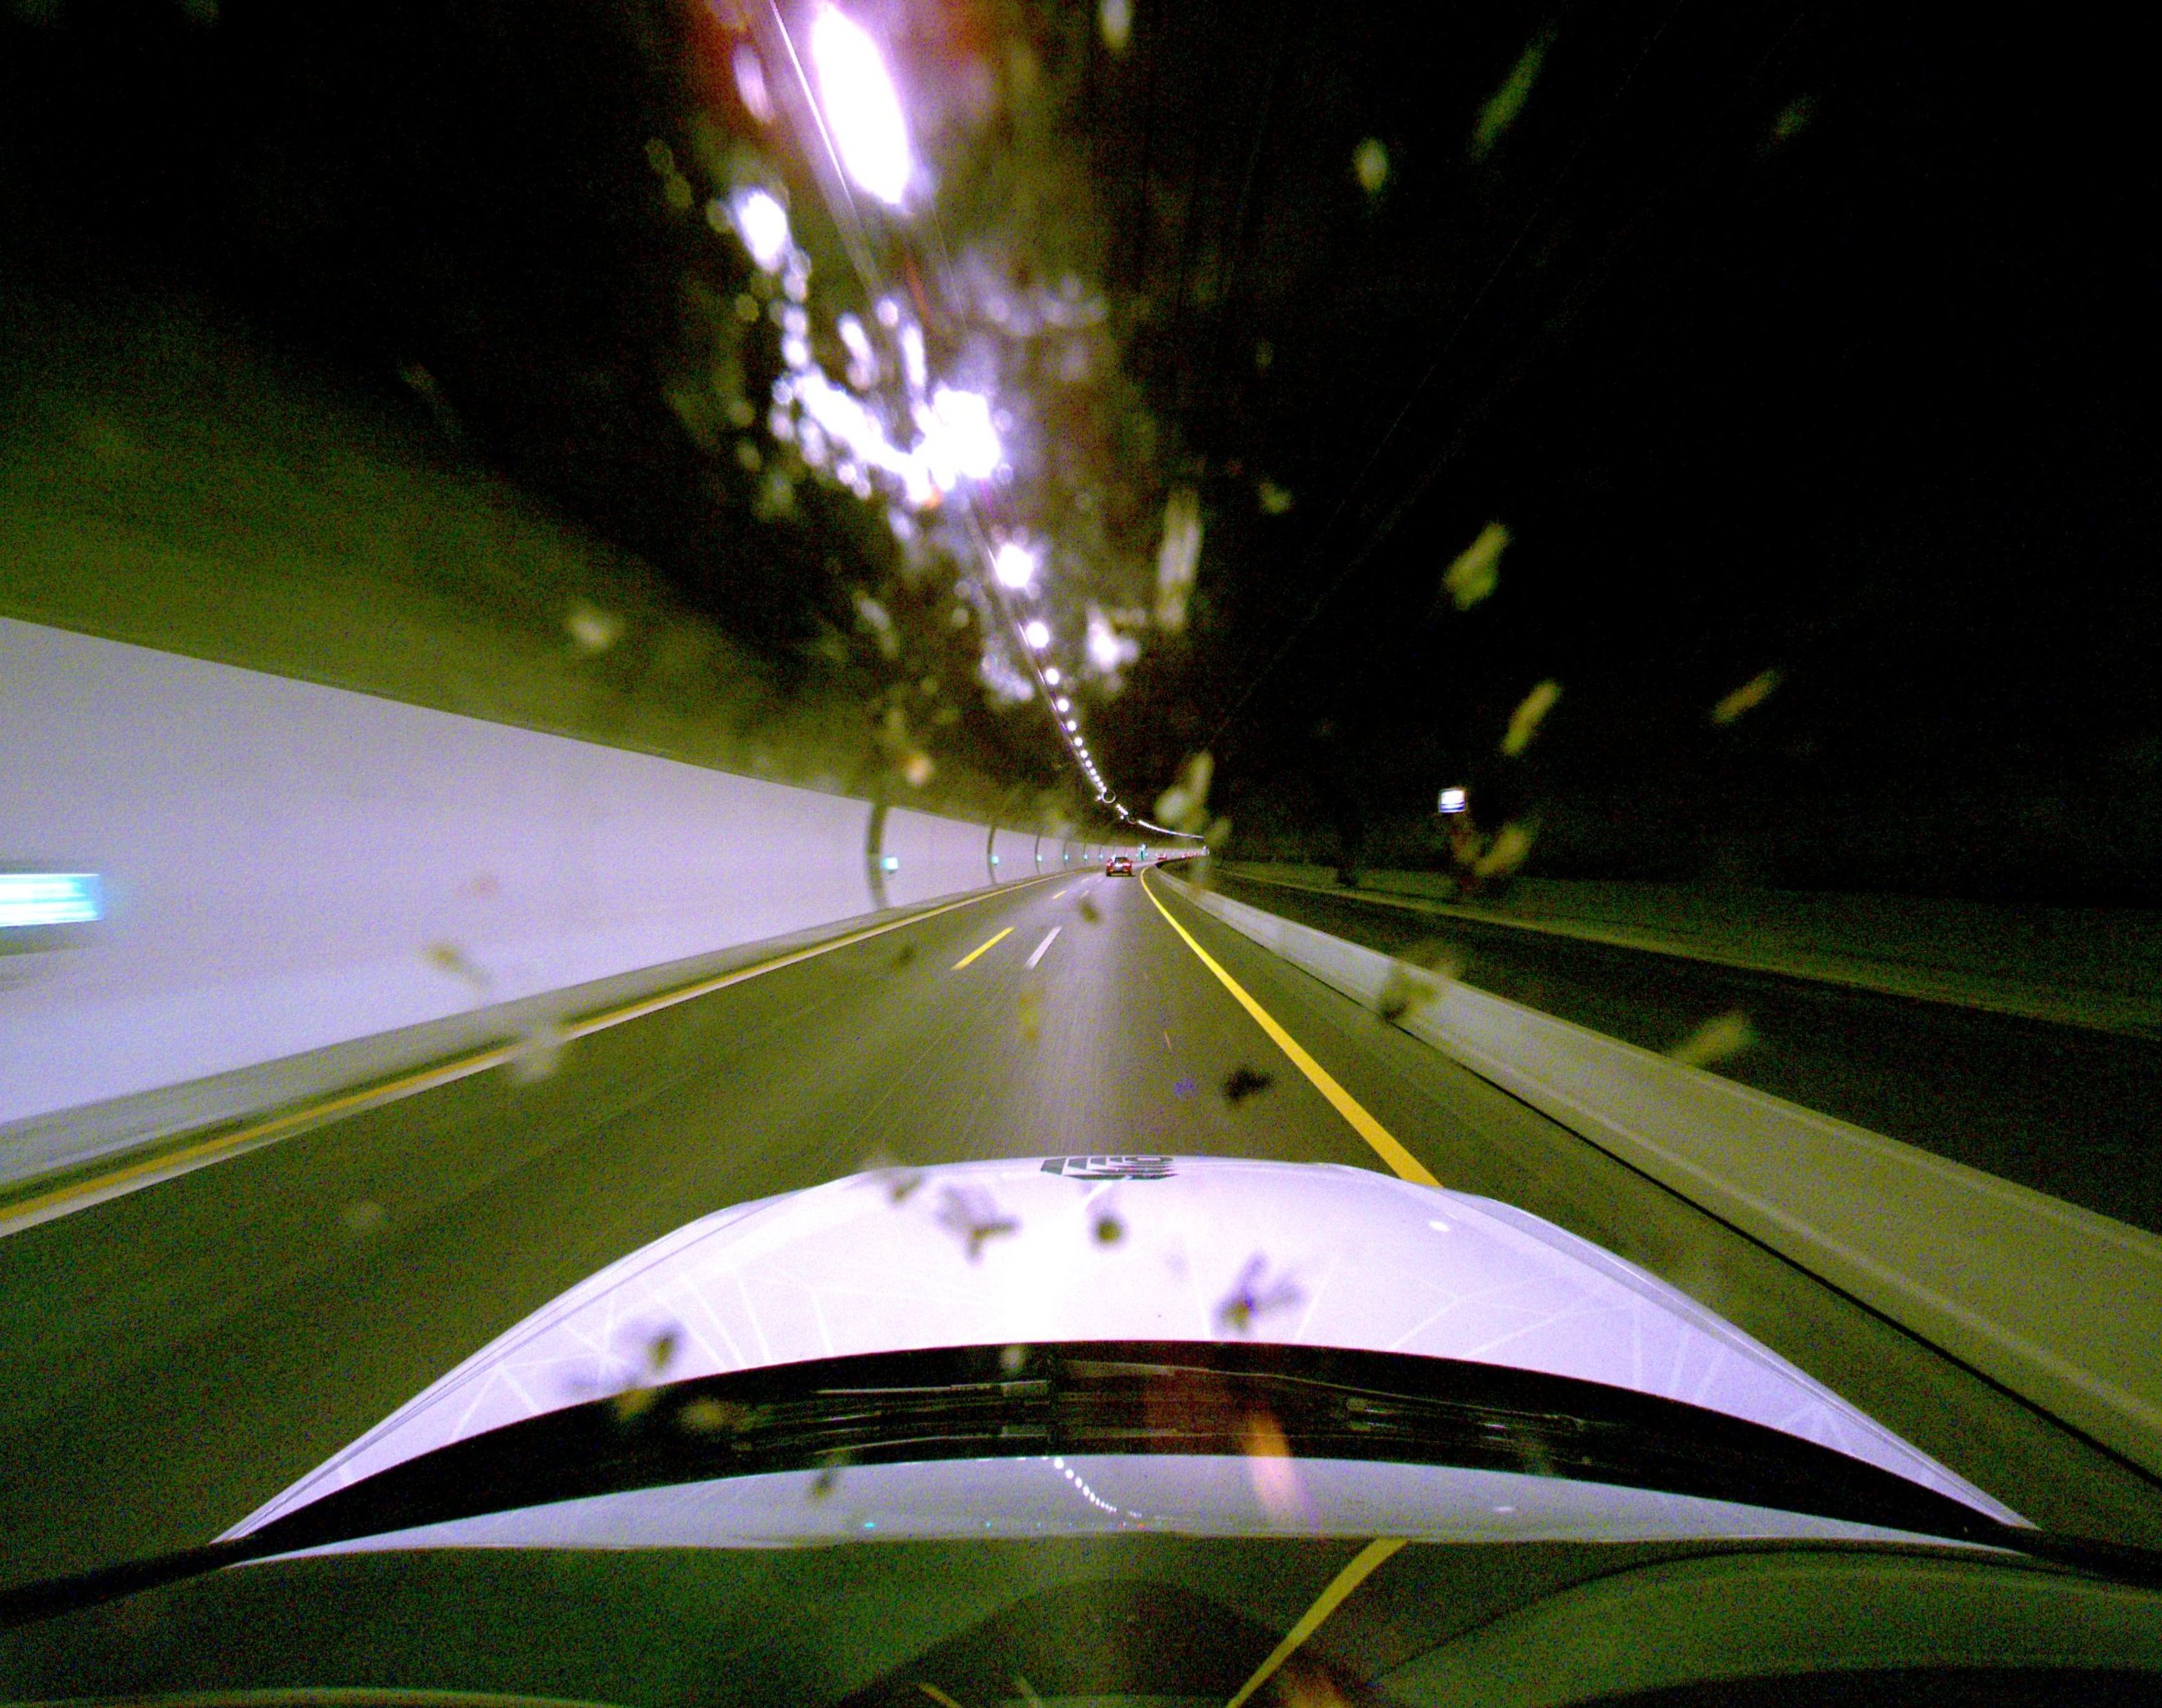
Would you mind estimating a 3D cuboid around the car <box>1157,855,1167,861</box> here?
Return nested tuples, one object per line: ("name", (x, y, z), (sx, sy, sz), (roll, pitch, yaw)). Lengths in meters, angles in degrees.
("car", (20.408, 1.037, 205.910), (2.152, 1.486, 4.011), (-1, 0, 9))

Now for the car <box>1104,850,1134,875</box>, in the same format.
("car", (2.804, 0.609, 59.779), (2.132, 1.706, 4.003), (-1, 0, 3))

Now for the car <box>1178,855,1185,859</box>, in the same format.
("car", (28.761, 0.879, 233.376), (1.585, 1.333, 3.762), (-1, 0, 11))
